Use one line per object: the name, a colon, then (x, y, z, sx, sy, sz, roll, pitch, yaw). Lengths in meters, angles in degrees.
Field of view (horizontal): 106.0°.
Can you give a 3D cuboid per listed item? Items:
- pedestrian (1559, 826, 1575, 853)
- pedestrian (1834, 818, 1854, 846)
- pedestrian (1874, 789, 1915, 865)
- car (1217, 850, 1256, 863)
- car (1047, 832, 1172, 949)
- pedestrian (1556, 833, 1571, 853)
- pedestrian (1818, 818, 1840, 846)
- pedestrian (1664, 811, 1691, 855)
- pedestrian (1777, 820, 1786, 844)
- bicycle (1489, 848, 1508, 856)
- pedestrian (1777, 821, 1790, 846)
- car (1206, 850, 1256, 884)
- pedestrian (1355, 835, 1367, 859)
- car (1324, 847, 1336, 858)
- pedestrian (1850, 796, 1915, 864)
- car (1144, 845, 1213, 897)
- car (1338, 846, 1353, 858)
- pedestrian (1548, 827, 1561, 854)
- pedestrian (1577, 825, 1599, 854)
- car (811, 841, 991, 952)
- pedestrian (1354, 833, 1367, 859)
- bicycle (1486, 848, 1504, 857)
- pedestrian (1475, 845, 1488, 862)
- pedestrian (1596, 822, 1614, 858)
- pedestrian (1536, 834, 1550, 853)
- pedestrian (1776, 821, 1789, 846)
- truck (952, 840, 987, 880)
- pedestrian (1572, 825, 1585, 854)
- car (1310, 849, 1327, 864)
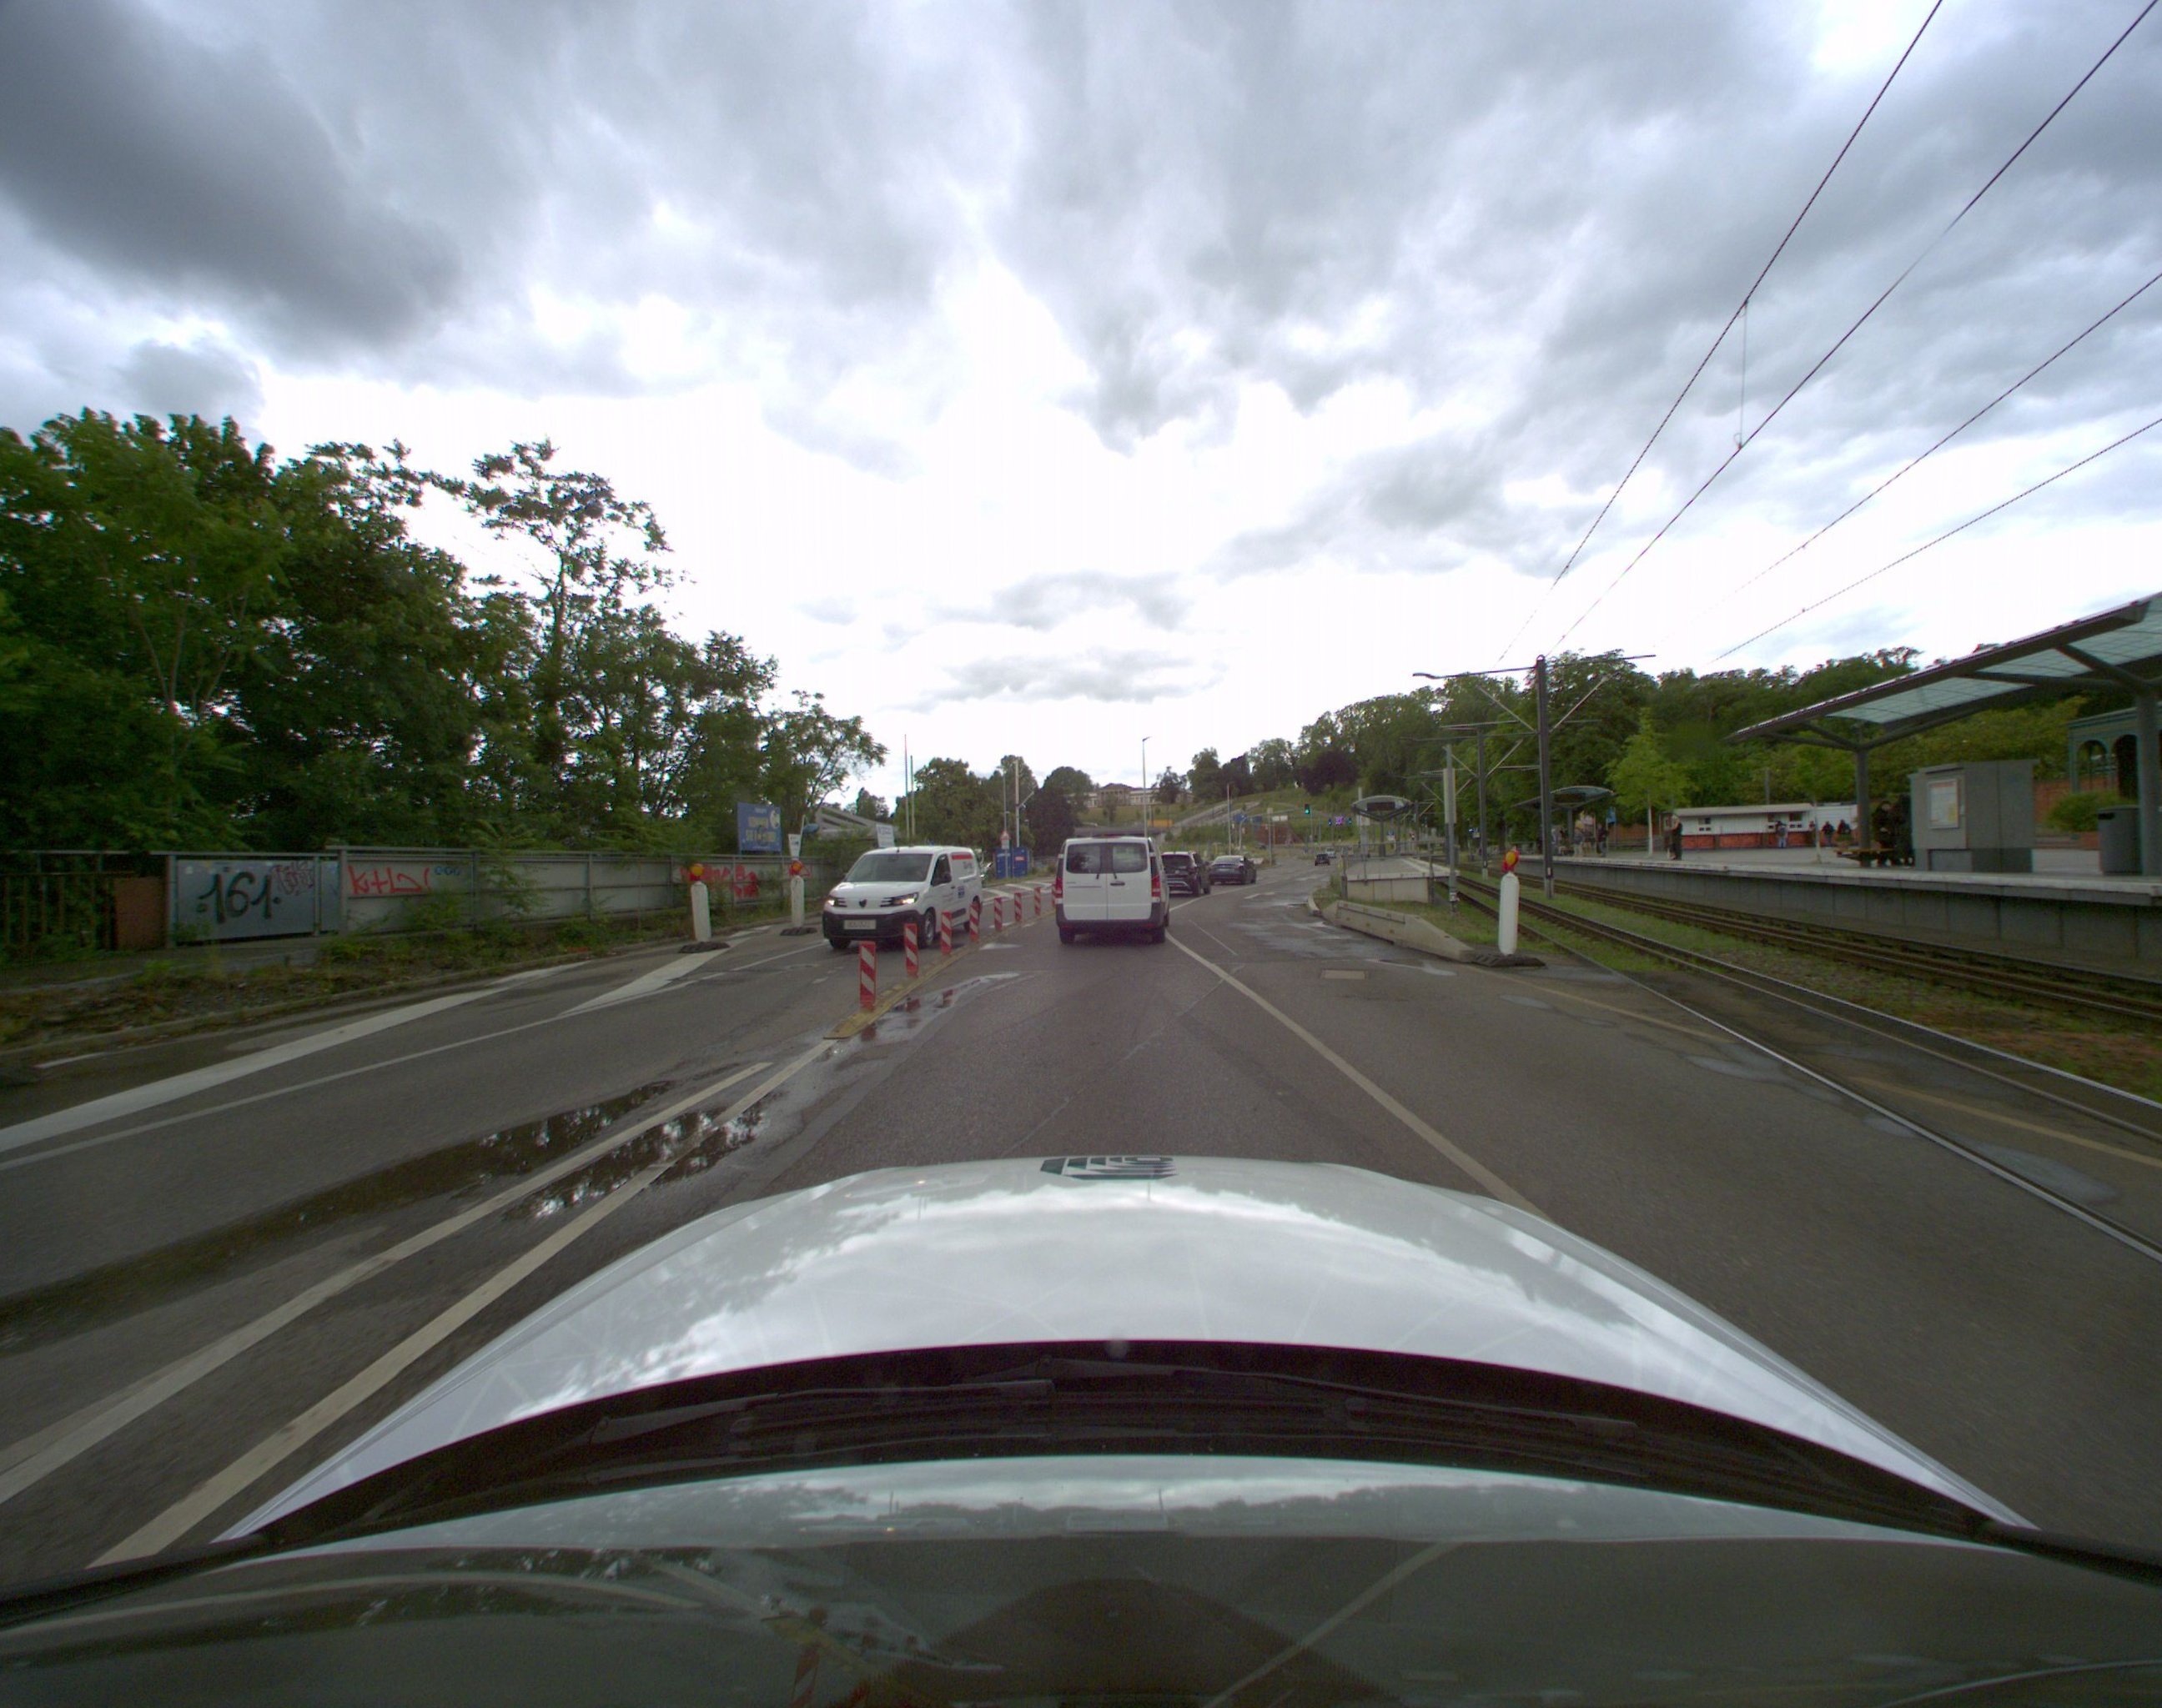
pedestrian: (30.227, -0.895, 50.669, 0.668, 1.677, 0.680, 1, 0, 17)
pedestrian: (43.561, -1.246, 46.489, 0.581, 1.583, 0.624, 1, 0, 8)
pedestrian: (18.103, -0.590, 18.133, 0.481, 1.660, 0.632, 0, 0, 29)
car: (21.030, 0.315, 110.059, 4.664, 1.477, 2.013, -3, 0, 30)
car: (0.705, 0.592, 15.586, 1.948, 1.904, 4.471, 0, 0, 8)
pedestrian: (28.080, -0.631, 47.369, 0.652, 1.191, 0.679, 1, 0, 22)
pedestrian: (42.932, -1.246, 46.747, 0.651, 1.583, 0.623, 1, 0, 6)
pedestrian: (23.230, -0.796, 31.705, 0.627, 1.687, 0.870, 1, 0, 20)
pedestrian: (44.512, -1.392, 51.739, 0.338, 1.487, 0.317, 0, 0, 23)
bicycle: (48.968, -0.253, 95.486, 1.896, 0.896, 0.533, -3, -1, 20)
pedestrian: (44.039, -1.291, 51.036, 0.481, 1.535, 0.462, 0, 0, 23)
car: (7.616, 0.619, 40.947, 1.823, 1.582, 4.082, 0, 0, 20)
pedestrian: (18.482, -0.440, 53.762, 0.744, 1.553, 0.779, 1, 2, 22)
car: (41.255, -0.293, 134.853, 1.739, 1.772, 4.017, 1, 0, 16)
pedestrian: (18.645, -0.551, 18.964, 0.757, 1.542, 0.786, 1, 0, -3)
car: (3.568, 0.554, 29.133, 1.824, 1.729, 4.079, 0, 0, 16)
car: (44.633, -0.378, 137.620, 2.184, 2.013, 5.173, -1, 0, 16)
pedestrian: (29.558, -0.835, 50.831, 0.539, 1.677, 0.679, 1, 0, 17)
pedestrian: (29.023, -0.824, 46.650, 0.854, 1.677, 0.764, 1, 0, 10)
car: (-3.251, 0.672, 15.875, 1.853, 1.782, 4.759, -2, 1, 7)
pedestrian: (18.152, -0.529, 52.947, 0.764, 1.699, 0.735, 1, 2, 22)
bicycle: (49.118, -0.215, 96.623, 1.896, 0.975, 0.533, -3, -1, 20)
pedestrian: (39.001, -0.054, 79.358, 0.830, 1.609, 0.778, -2, -1, -2)
pedestrian: (27.506, -0.727, 42.747, 0.627, 1.838, 0.955, 1, 0, 22)
pedestrian: (31.802, -0.728, 56.118, 0.668, 1.323, 0.972, 1, 0, 19)
pedestrian: (43.635, -1.270, 50.645, 0.481, 1.487, 0.462, 0, 0, 23)
truck: (-10.209, 0.551, 74.947, 2.790, 3.336, 8.457, -3, 0, -7)
pedestrian: (27.951, -0.819, 45.727, 0.520, 1.620, 0.679, 0, 0, 22)
car: (28.765, 0.270, 98.719, 1.978, 1.772, 4.017, 1, 0, 16)
